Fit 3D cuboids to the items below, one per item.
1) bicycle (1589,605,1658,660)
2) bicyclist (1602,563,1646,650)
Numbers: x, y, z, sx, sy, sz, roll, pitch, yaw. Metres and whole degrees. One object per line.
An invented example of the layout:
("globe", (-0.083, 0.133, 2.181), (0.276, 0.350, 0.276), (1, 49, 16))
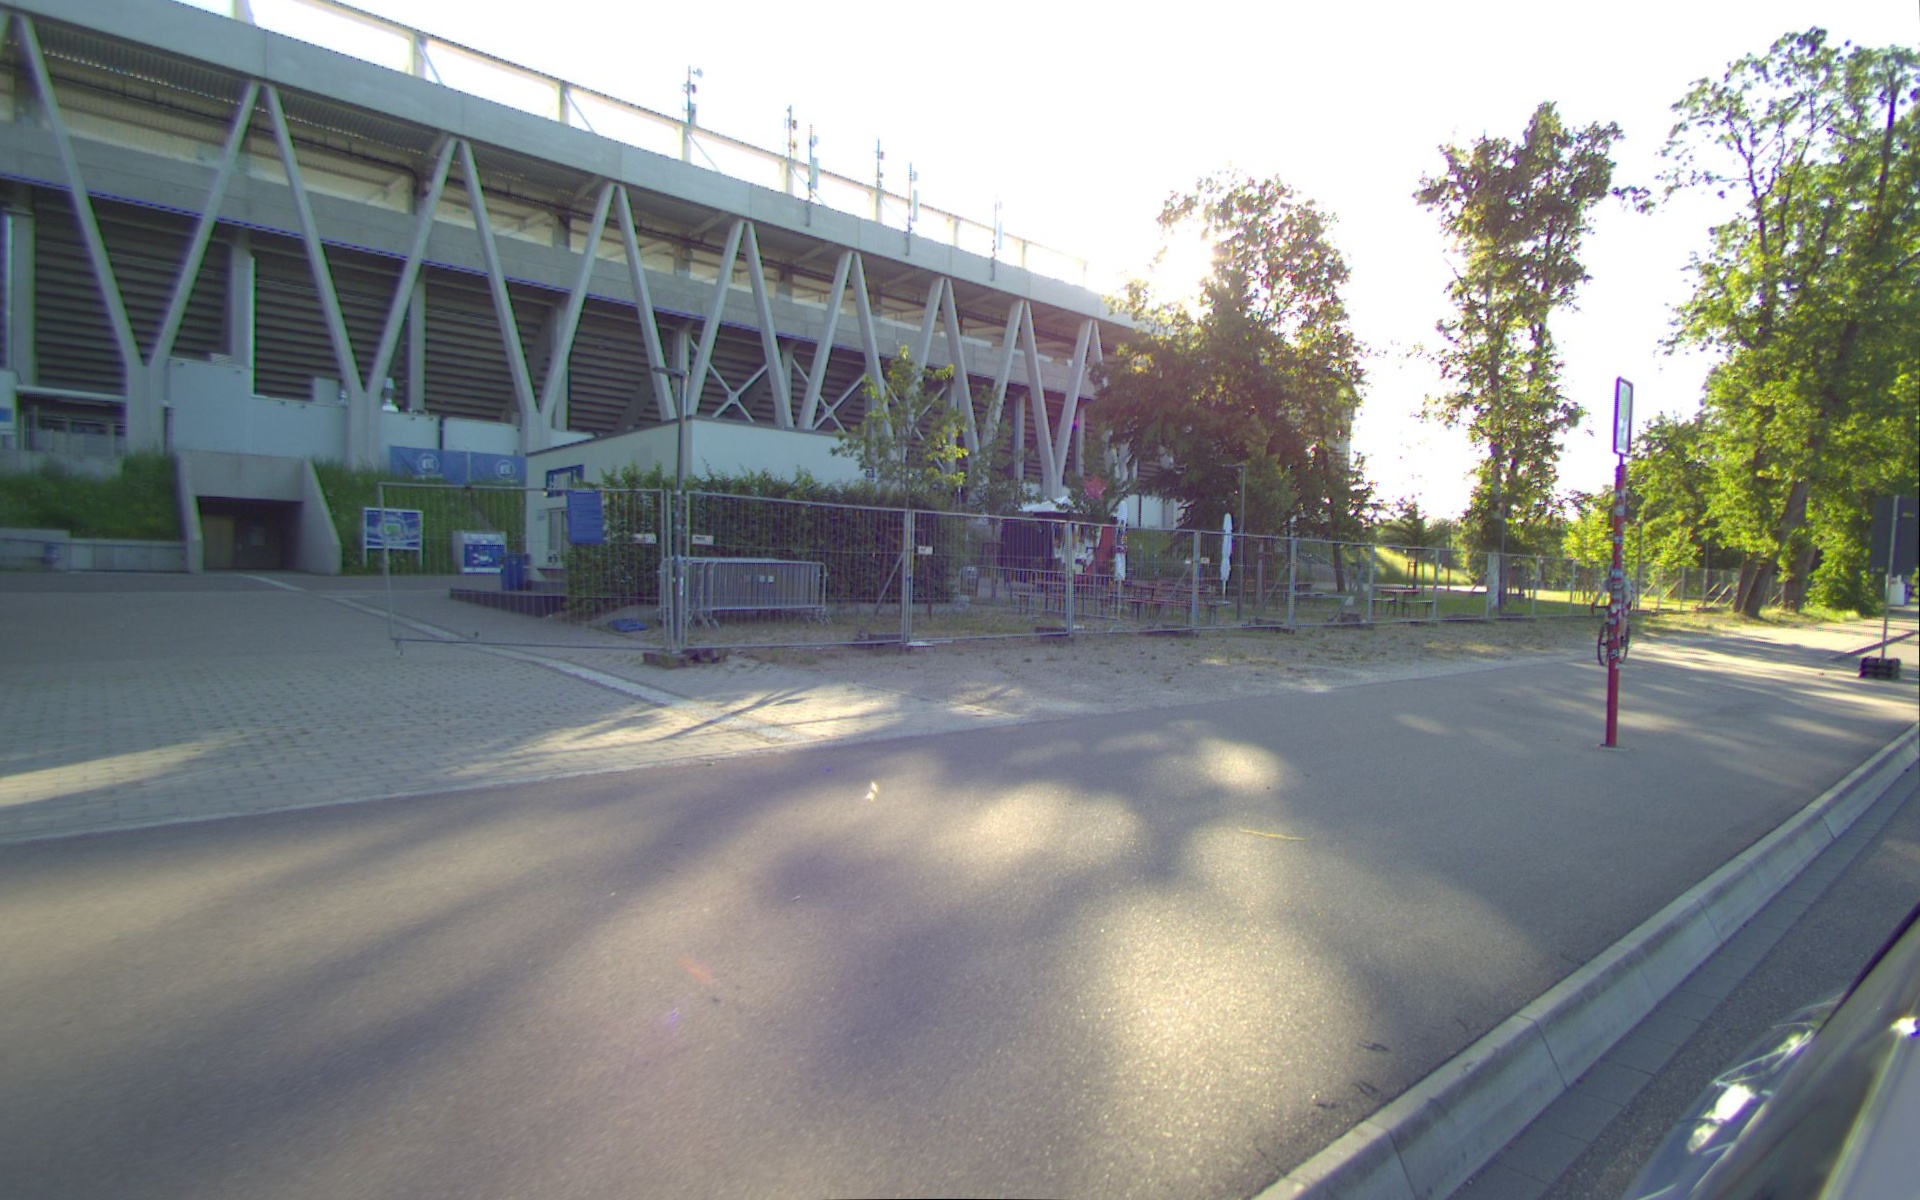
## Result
("bicycle", (11.414, 0.532, 17.386), (1.876, 0.869, 0.480), (0, 2, -41))
("bicyclist", (11.351, 0.100, 17.308), (0.565, 1.438, 0.451), (0, 2, -41))
